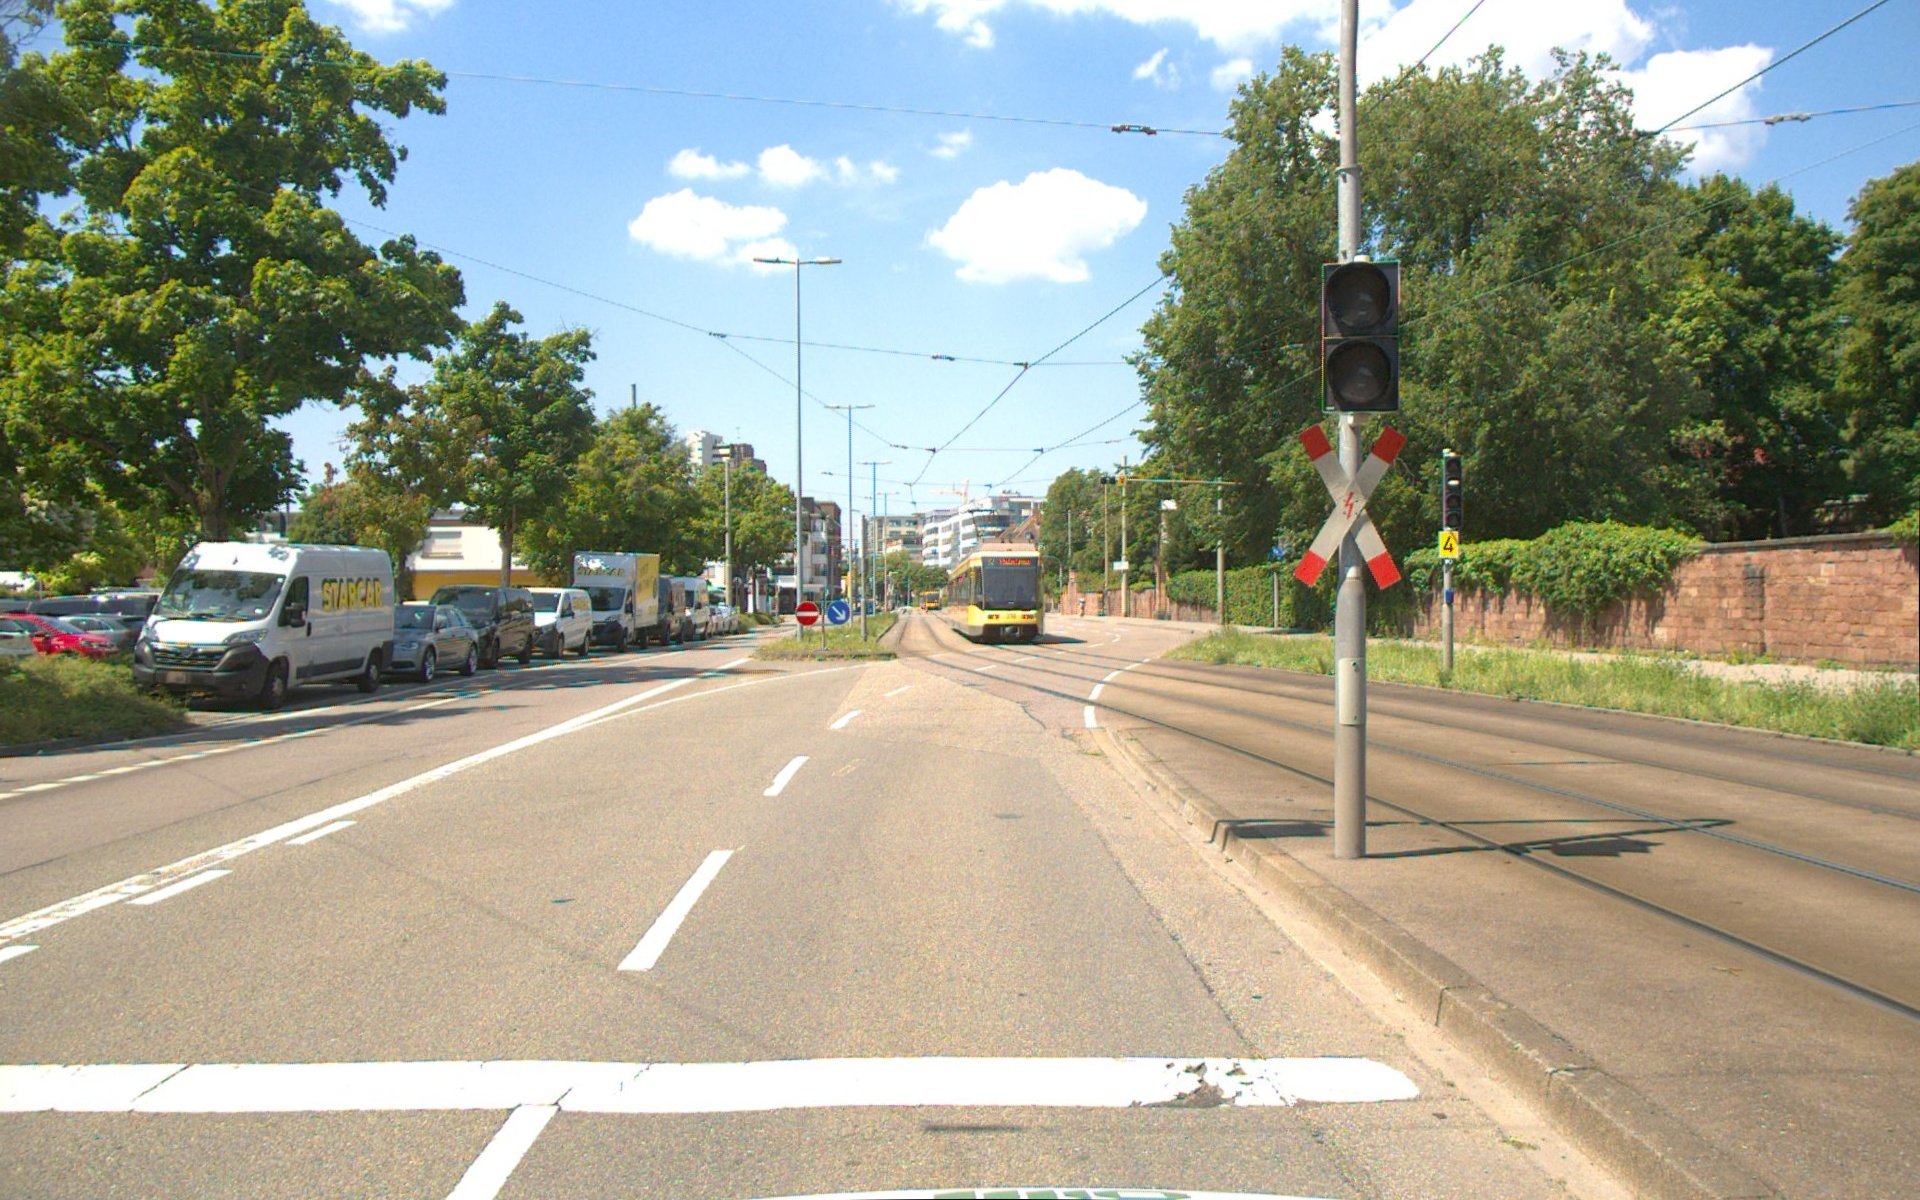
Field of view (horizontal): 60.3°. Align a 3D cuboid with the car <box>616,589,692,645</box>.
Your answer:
[{"bbox_3d":[-11.536,0.612,62.595,2.019,2.011,4.870,-1,0,-1],"label":"car"}]

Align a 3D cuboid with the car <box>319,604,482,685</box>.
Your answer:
[{"bbox_3d":[-11.077,0.835,33.059,1.831,1.462,4.342,-1,0,-1],"label":"car"}]

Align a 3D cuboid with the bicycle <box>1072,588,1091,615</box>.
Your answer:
[{"bbox_3d":[9.069,0.095,123.254,1.070,1.941,3.681,-1,0,-1],"label":"bicycle"}]

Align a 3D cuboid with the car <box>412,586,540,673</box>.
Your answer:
[{"bbox_3d":[-11.503,0.654,39.594,1.831,1.928,4.270,-1,0,-1],"label":"car"}]

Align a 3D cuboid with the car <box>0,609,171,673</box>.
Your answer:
[{"bbox_3d":[-21.932,1.003,40.951,3.907,1.467,1.804,-1,0,-3],"label":"car"}]

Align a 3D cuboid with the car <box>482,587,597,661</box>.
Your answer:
[{"bbox_3d":[-11.692,0.632,46.341,2.019,1.931,4.870,-1,0,-1],"label":"car"}]

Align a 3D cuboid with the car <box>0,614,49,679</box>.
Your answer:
[{"bbox_3d":[-22.186,1.027,35.796,3.907,1.362,1.804,-1,0,-3],"label":"car"}]

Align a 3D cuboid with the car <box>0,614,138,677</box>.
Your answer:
[{"bbox_3d":[-21.519,1.049,38.416,3.907,1.362,1.804,-1,0,-3],"label":"car"}]

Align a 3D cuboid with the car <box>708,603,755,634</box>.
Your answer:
[{"bbox_3d":[-12.573,1.014,91.254,2.019,1.609,4.870,-1,0,-1],"label":"car"}]

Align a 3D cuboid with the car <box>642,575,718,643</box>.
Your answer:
[{"bbox_3d":[-11.827,0.369,70.292,2.112,2.685,5.612,2,0,1],"label":"car"}]

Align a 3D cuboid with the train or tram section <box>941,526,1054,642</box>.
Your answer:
[{"bbox_3d":[1.105,-0.569,62.541,2.885,3.756,18.378,0,0,-3],"label":"train or tram section"}]

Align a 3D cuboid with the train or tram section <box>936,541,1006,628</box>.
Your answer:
[{"bbox_3d":[0.307,-0.734,81.736,2.884,3.756,20.278,0,0,-1],"label":"train or tram section"}]

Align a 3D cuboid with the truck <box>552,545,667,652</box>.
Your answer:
[{"bbox_3d":[-11.538,-0.064,55.022,2.112,3.266,7.082,2,0,1],"label":"truck"}]

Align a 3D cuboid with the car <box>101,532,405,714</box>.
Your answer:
[{"bbox_3d":[-11.198,0.318,26.858,2.112,2.530,6.193,2,0,1],"label":"car"}]

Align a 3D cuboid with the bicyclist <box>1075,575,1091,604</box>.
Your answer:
[{"bbox_3d":[9.166,-0.806,123.113,1.074,2.145,1.031,0,-1,-1],"label":"bicyclist"}]

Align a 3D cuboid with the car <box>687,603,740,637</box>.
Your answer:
[{"bbox_3d":[-12.439,0.979,83.753,2.019,1.609,4.870,-1,0,-1],"label":"car"}]
